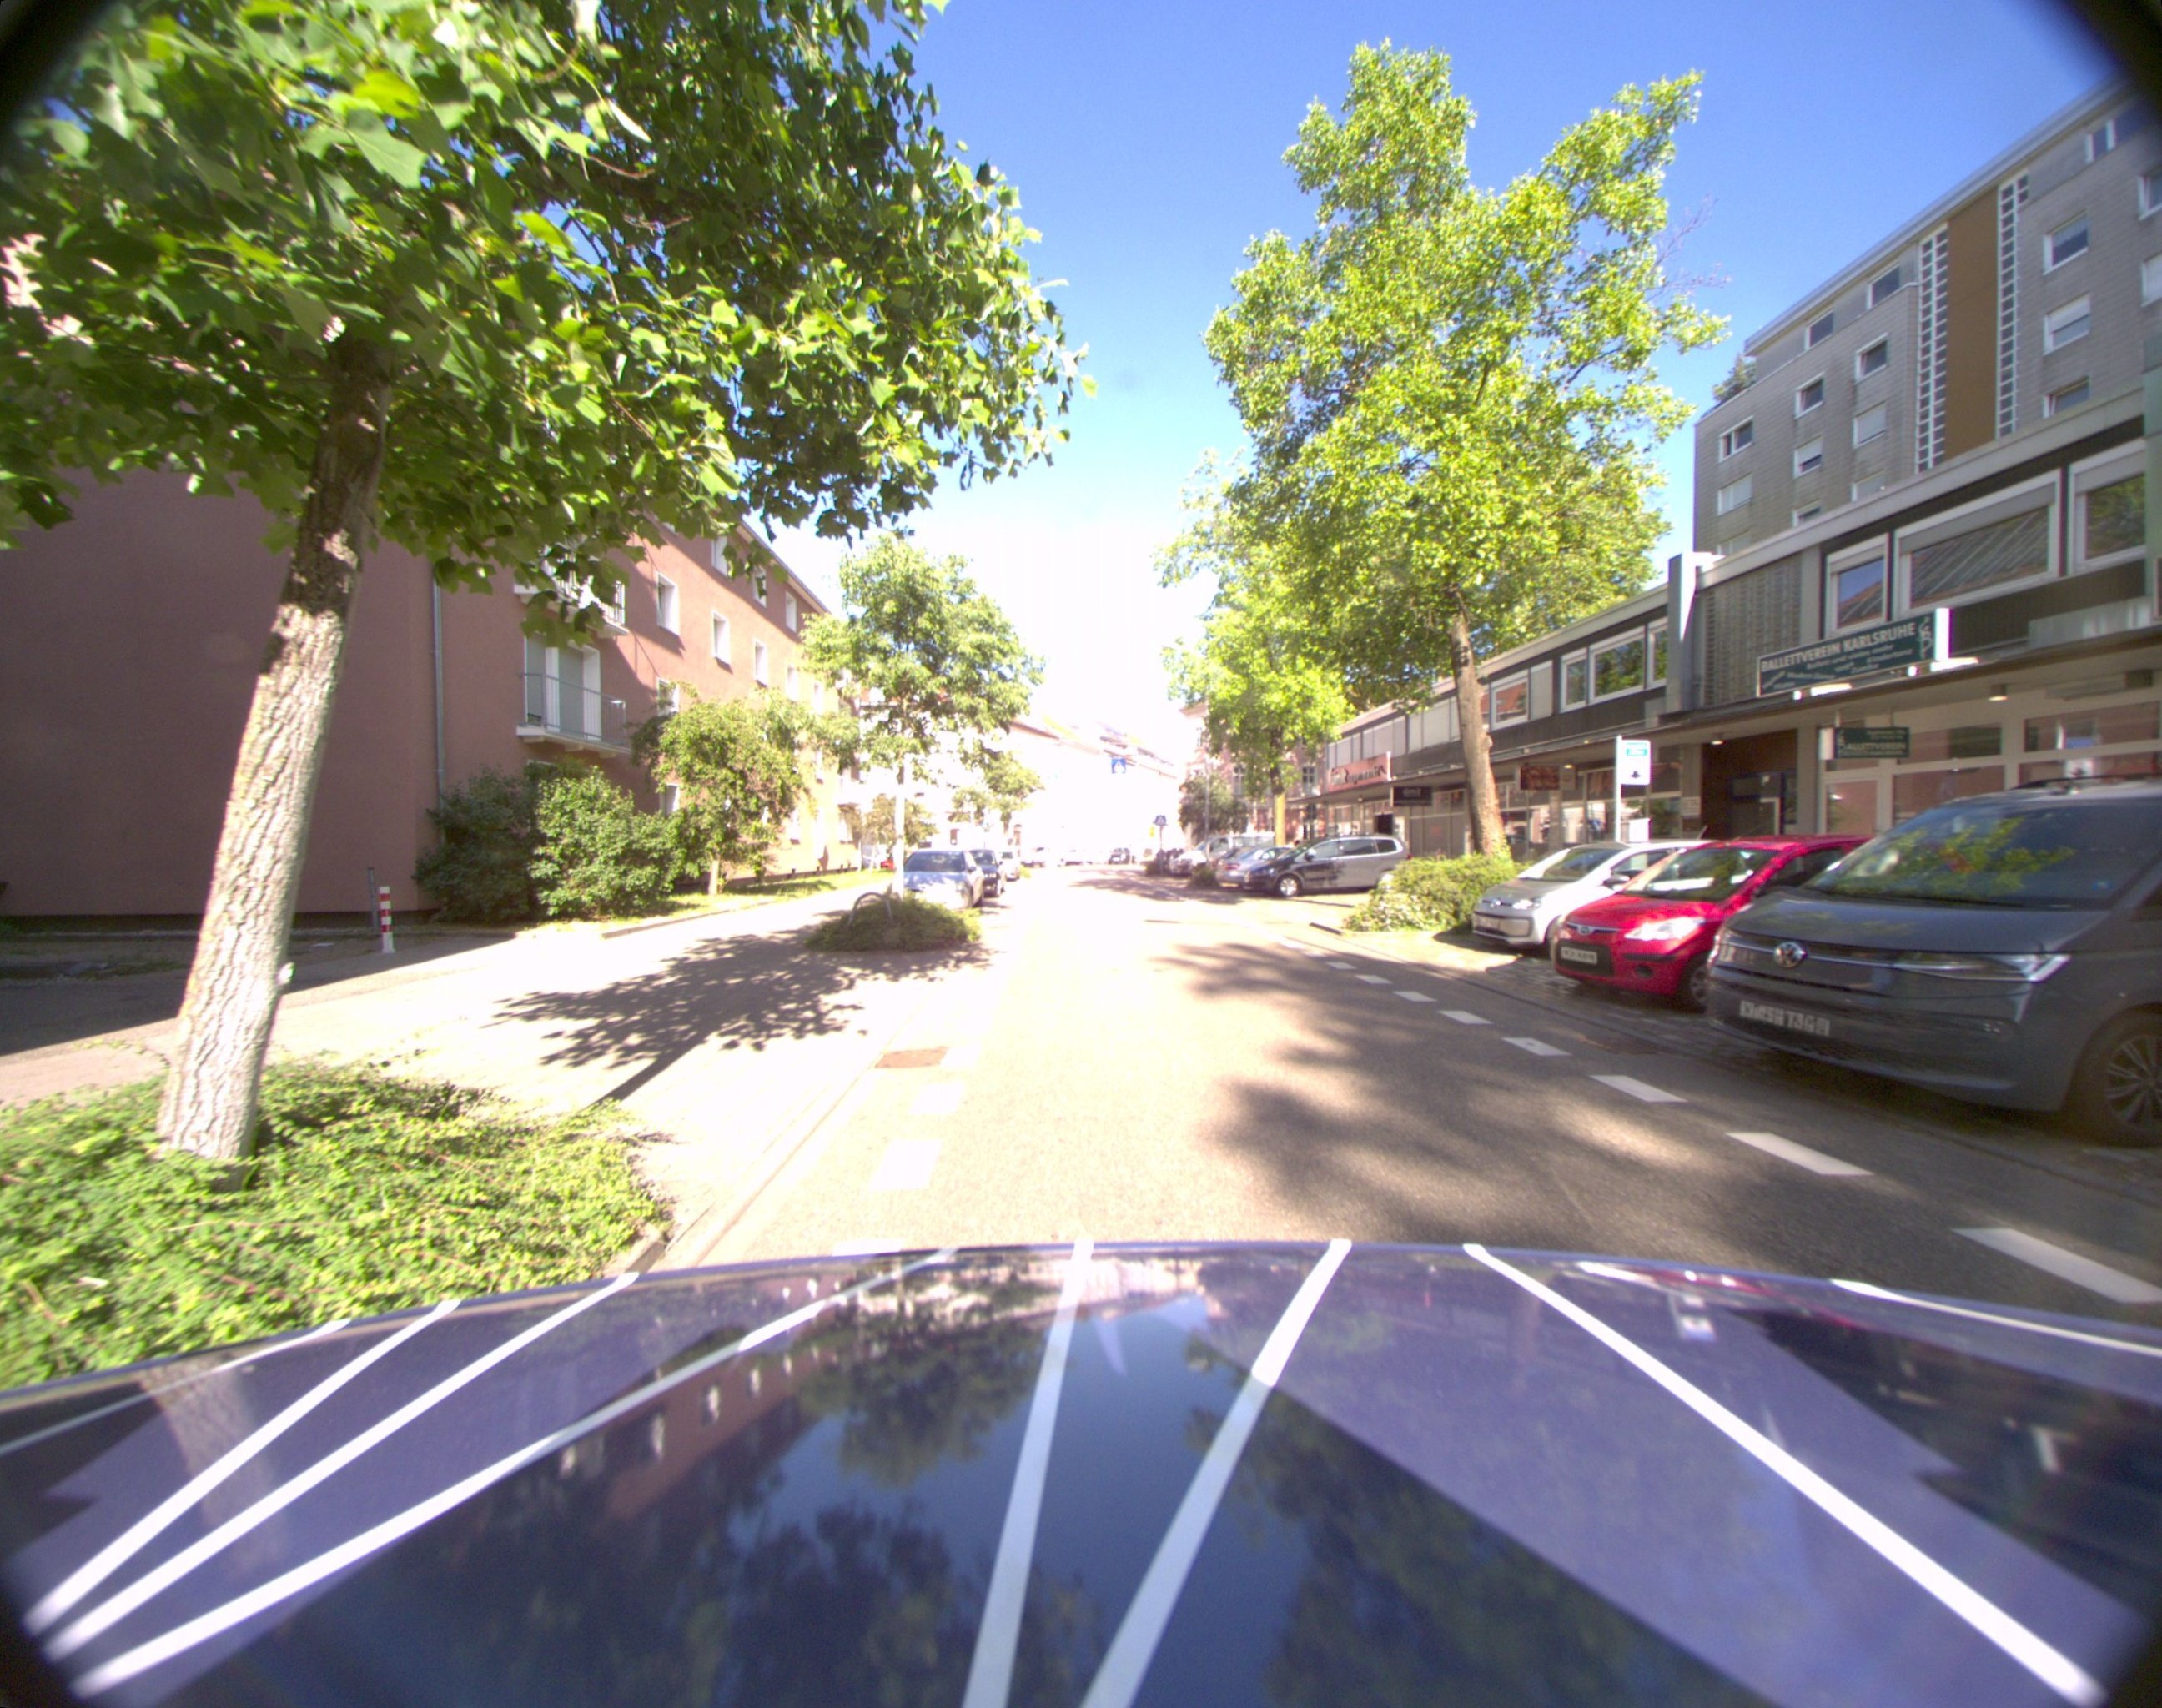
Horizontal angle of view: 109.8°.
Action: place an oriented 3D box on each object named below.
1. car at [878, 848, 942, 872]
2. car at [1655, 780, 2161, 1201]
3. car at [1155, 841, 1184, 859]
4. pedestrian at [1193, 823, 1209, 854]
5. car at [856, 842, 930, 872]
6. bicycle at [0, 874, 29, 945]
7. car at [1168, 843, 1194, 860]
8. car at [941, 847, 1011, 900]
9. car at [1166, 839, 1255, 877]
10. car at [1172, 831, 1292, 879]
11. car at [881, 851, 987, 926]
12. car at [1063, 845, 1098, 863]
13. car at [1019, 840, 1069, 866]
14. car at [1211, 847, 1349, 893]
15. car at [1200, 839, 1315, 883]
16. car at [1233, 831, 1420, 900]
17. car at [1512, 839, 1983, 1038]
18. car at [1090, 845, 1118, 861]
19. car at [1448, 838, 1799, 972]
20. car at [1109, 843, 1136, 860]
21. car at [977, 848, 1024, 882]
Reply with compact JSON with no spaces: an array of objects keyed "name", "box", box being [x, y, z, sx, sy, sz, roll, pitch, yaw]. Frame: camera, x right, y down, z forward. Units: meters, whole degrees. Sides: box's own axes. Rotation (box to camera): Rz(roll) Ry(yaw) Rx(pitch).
[{"name":"car","box":[-10.747,0.371,47.922,3.648,1.394,1.567,-1,1,-2]},{"name":"car","box":[6.622,0.552,4.502,5.043,1.927,1.872,-2,1,-1]},{"name":"car","box":[8.260,-0.389,70.787,1.670,1.628,4.054,0,1,22]},{"name":"pedestrian","box":[6.495,-0.832,41.210,0.727,1.630,0.807,0,1,-2]},{"name":"car","box":[-13.117,0.197,53.131,4.757,2.002,1.998,-1,1,-6]},{"name":"bicycle","box":[-17.606,0.884,11.814,1.540,1.092,0.594,-1,1,-3]},{"name":"car","box":[9.968,-0.243,75.650,1.504,1.652,4.006,0,1,24]},{"name":"car","box":[-3.174,0.539,23.728,1.662,1.474,4.310,-1,1,-1]},{"name":"car","box":[6.295,0.176,37.074,3.998,1.781,1.757,-1,1,-3]},{"name":"car","box":[6.787,0.022,34.512,4.996,1.958,1.909,-2,1,-4]},{"name":"car","box":[-3.222,0.690,17.381,1.720,1.446,3.998,0,2,-1]},{"name":"car","box":[-0.004,-0.002,68.101,2.131,1.487,3.950,0,1,17]},{"name":"car","box":[-2.864,-0.119,59.718,1.909,1.924,4.816,0,1,24]},{"name":"car","box":[6.402,0.499,24.666,3.998,1.391,1.759,-1,1,-4]},{"name":"car","box":[6.864,0.253,29.804,3.998,1.413,1.736,-4,1,-4]},{"name":"car","box":[7.065,0.294,22.160,4.782,1.767,1.873,-2,1,-4]},{"name":"car","box":[6.465,0.698,7.525,3.570,1.546,1.660,-2,1,-11]},{"name":"car","box":[2.285,-0.104,74.350,1.632,1.413,3.298,-1,1,21]},{"name":"car","box":[7.229,0.622,10.376,3.596,1.552,1.672,-2,1,-1]},{"name":"car","box":[3.779,-0.267,69.141,1.609,1.445,3.299,2,1,18]},{"name":"car","box":[-3.554,0.443,34.204,1.736,1.420,3.999,-1,1,-1]}]
